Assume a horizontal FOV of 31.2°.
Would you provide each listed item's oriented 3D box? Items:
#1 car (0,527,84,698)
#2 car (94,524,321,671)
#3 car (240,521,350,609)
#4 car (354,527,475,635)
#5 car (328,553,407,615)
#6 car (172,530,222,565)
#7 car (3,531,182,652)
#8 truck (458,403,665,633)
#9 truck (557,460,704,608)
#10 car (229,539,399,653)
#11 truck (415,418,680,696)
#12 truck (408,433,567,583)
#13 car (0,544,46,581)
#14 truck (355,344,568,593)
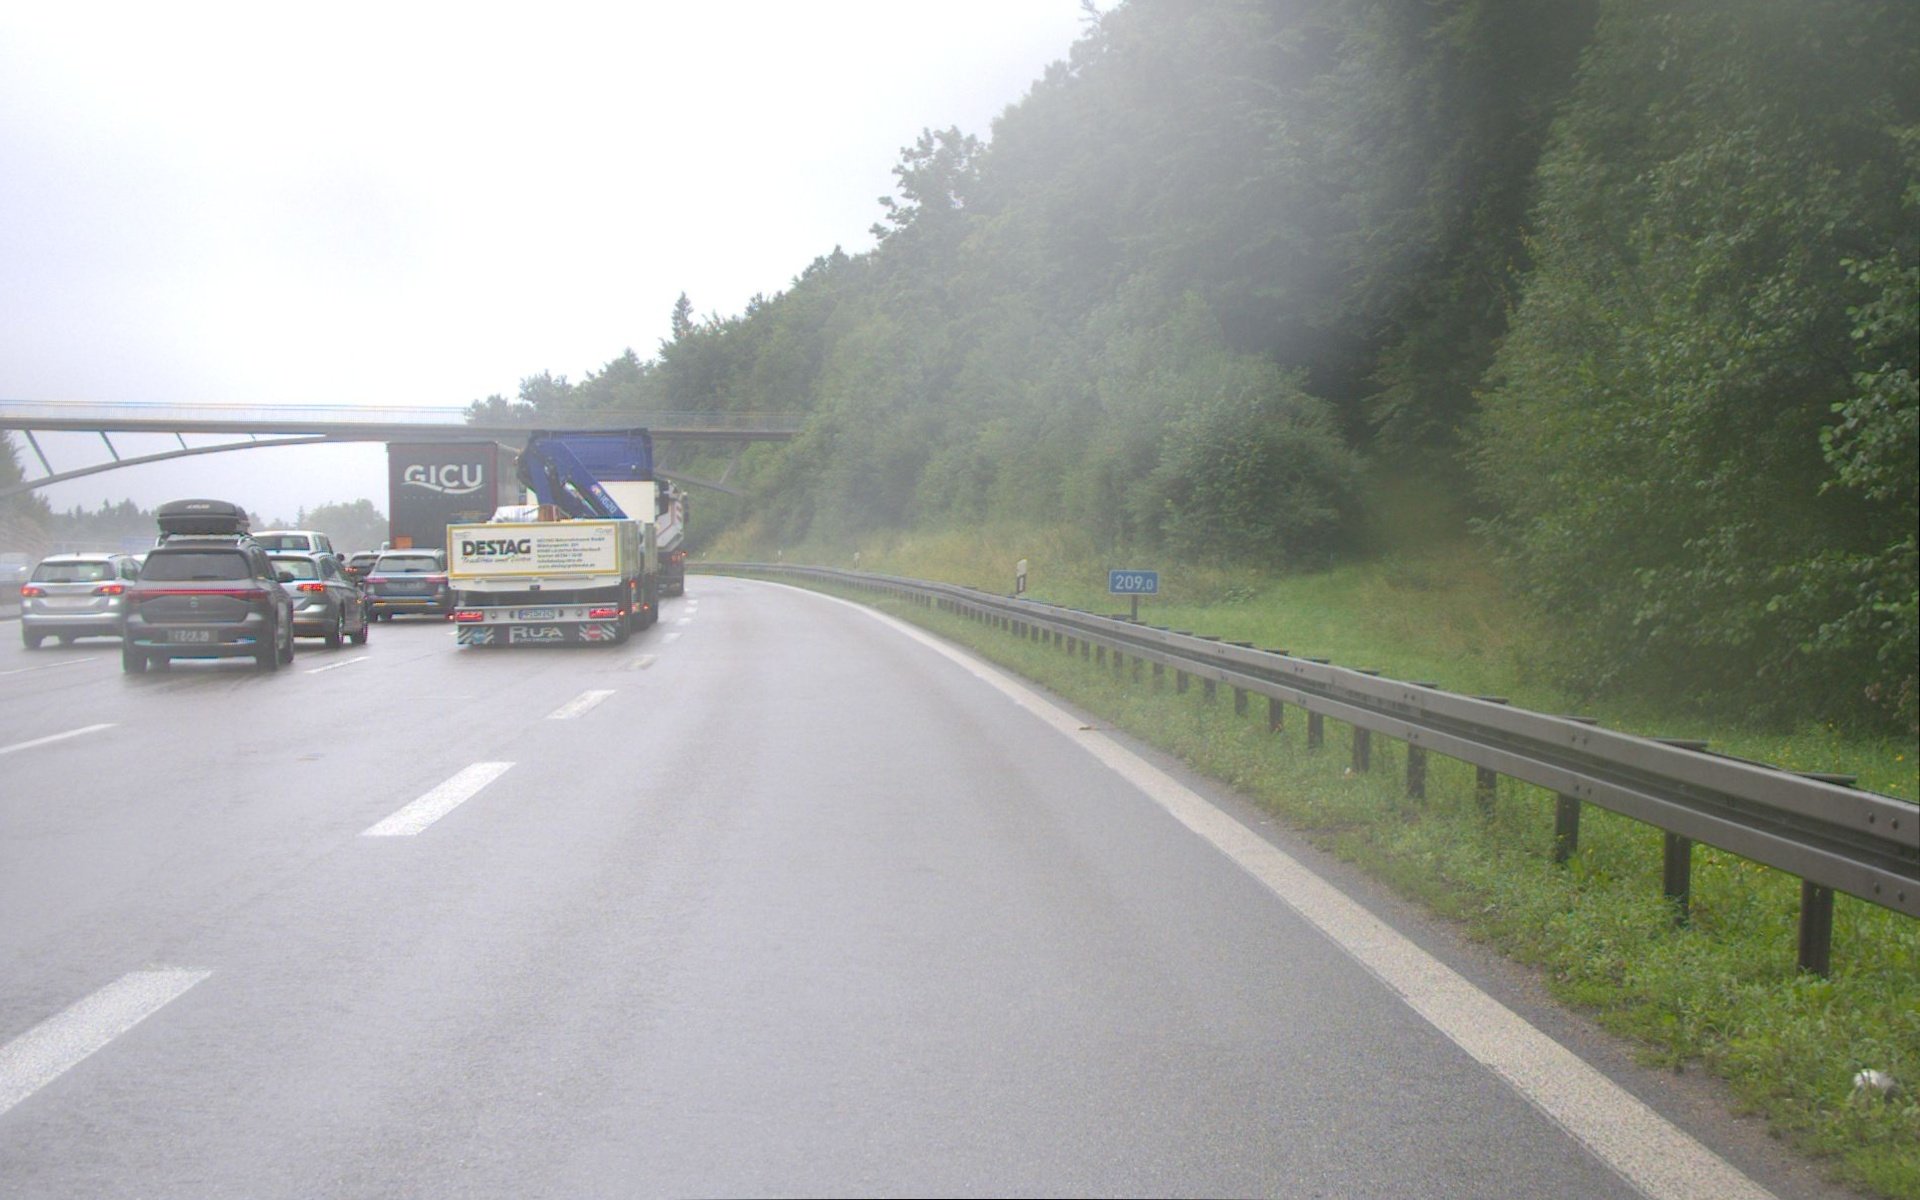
[{"bbox_3d":[-11.277,0.106,38.673,1.797,1.831,4.000,3,-1,-1],"label":"car"},{"bbox_3d":[-9.332,-0.003,42.927,1.993,1.630,4.000,3,-1,-2],"label":"car"},{"bbox_3d":[-15.370,-0.784,79.636,1.844,1.853,4.000,3,-1,-3],"label":"car"},{"bbox_3d":[-11.014,-0.354,69.621,1.793,2.007,4.000,3,-1,-1],"label":"car"},{"bbox_3d":[-17.396,-0.441,101.104,1.851,1.657,4.000,3,-1,-4],"label":"car"},{"bbox_3d":[-41.051,-2.836,185.020,1.993,1.824,4.001,0,1,-2],"label":"car"},{"bbox_3d":[-13.742,-0.106,54.684,1.786,1.740,4.000,3,-1,-1],"label":"car"},{"bbox_3d":[-8.196,-1.539,72.147,3.507,4.253,10.604,3,-1,-4],"label":"truck"},{"bbox_3d":[-9.957,-1.900,105.117,3.754,3.957,11.060,3,-1,-3],"label":"truck"},{"bbox_3d":[-9.731,-0.096,52.043,1.938,1.656,4.000,0,1,-2],"label":"car"},{"bbox_3d":[-6.537,-0.742,56.414,3.599,4.091,11.562,0,1,-3],"label":"truck"},{"bbox_3d":[-14.140,-2.663,103.812,3.576,4.081,10.880,0,-1,-2],"label":"truck"},{"bbox_3d":[-45.622,-1.833,166.176,1.993,1.778,4.001,0,1,-2],"label":"car"},{"bbox_3d":[-12.281,-3.099,85.785,3.754,5.480,10.173,3,-1,-1],"label":"truck"}]
